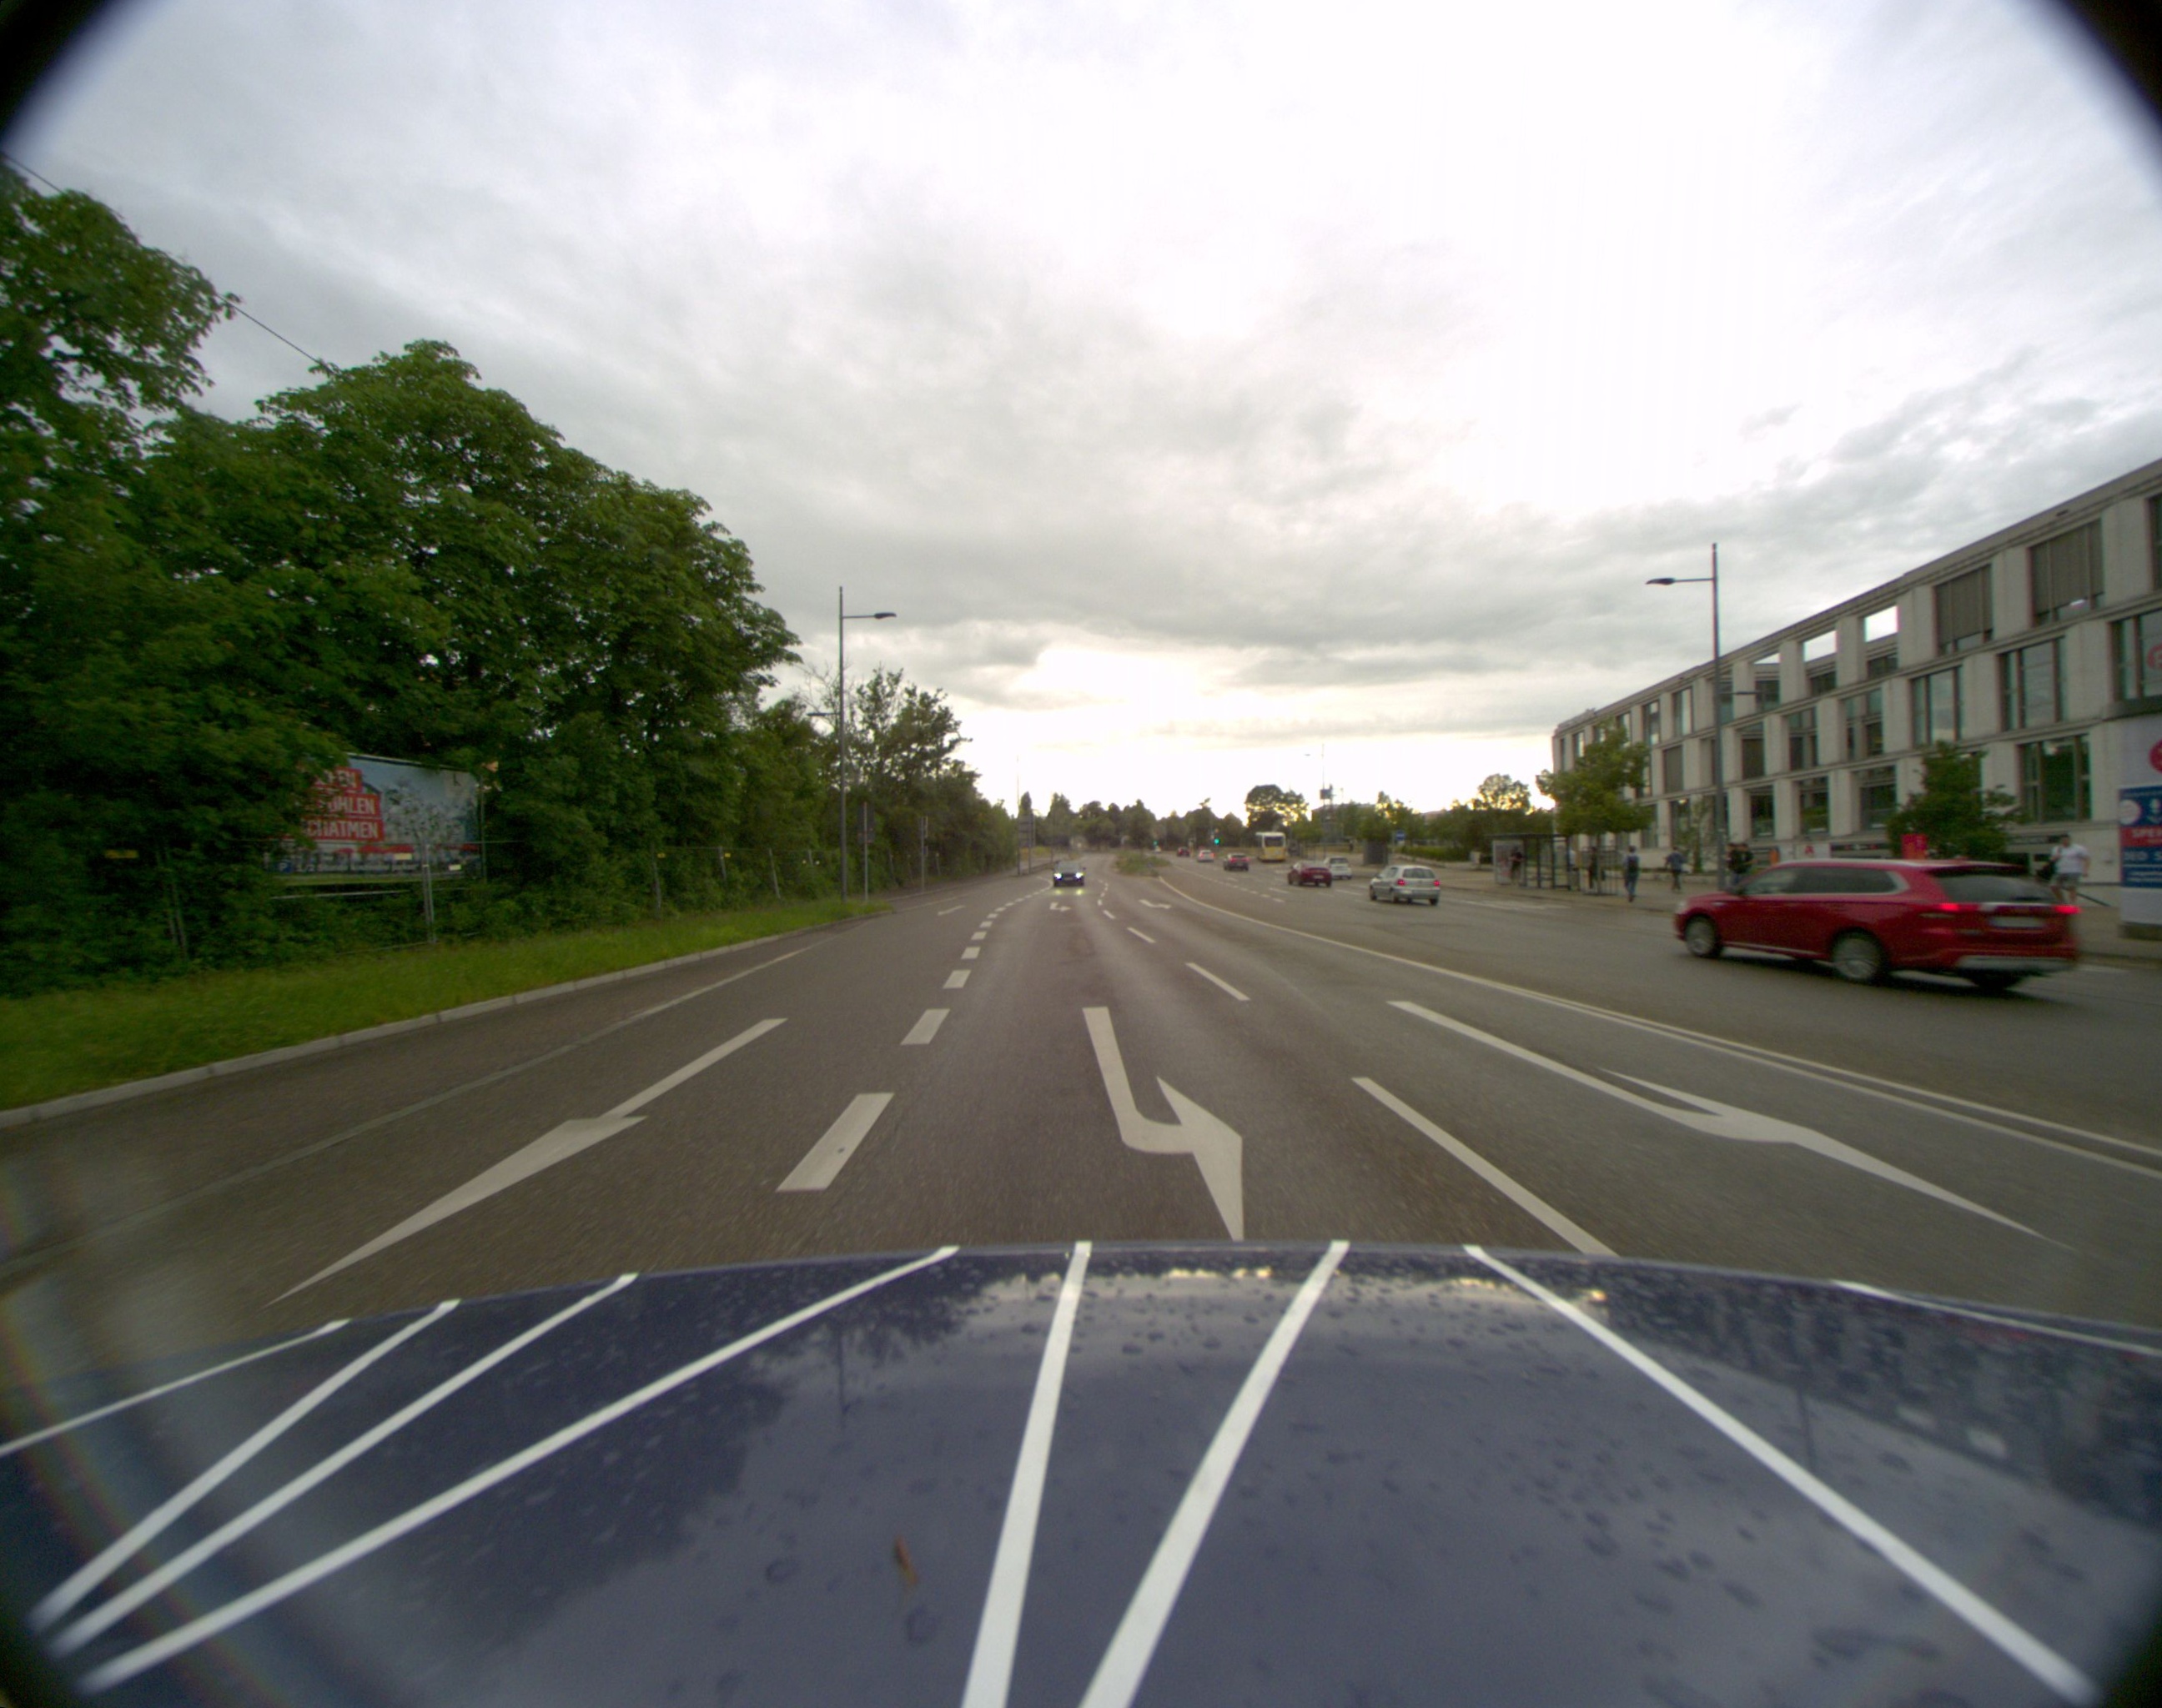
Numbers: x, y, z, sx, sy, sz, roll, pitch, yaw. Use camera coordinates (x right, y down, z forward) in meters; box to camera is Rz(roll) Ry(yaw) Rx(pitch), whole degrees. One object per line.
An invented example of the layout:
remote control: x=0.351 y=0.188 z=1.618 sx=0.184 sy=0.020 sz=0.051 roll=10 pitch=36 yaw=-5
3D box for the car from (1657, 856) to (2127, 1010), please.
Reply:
car: x=11.011 y=0.903 z=11.016 sx=1.857 sy=1.673 sz=4.738 roll=2 pitch=0 yaw=3

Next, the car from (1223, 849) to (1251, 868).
car: x=14.657 y=0.395 z=71.531 sx=1.836 sy=1.563 sz=4.593 roll=2 pitch=1 yaw=3

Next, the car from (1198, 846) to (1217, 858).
car: x=15.909 y=-0.289 z=95.976 sx=1.877 sy=1.422 sz=4.176 roll=2 pitch=1 yaw=3

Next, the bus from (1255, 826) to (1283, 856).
bus: x=24.304 y=-1.791 z=98.381 sx=2.826 sy=3.453 sz=9.978 roll=-2 pitch=2 yaw=11

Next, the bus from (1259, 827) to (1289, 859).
bus: x=22.641 y=-1.418 z=89.443 sx=2.826 sy=3.453 sz=8.234 roll=-2 pitch=2 yaw=11

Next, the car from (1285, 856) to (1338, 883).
car: x=13.149 y=0.866 z=43.568 sx=1.836 sy=1.408 sz=4.466 roll=2 pitch=0 yaw=3

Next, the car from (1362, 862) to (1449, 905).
car: x=12.067 y=1.037 z=28.514 sx=1.766 sy=1.408 sz=3.879 roll=2 pitch=0 yaw=3

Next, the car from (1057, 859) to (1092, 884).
car: x=-0.418 y=1.014 z=45.273 sx=1.990 sy=1.391 sz=4.176 roll=-1 pitch=0 yaw=-1

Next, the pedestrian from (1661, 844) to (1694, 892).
pedestrian: x=22.171 y=0.506 z=28.231 sx=0.599 sy=1.752 sz=0.857 roll=-1 pitch=1 yaw=6

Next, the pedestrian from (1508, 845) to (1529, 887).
pedestrian: x=19.355 y=0.516 z=33.617 sx=0.508 sy=1.832 sz=0.755 roll=-1 pitch=1 yaw=2

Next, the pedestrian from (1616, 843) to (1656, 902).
pedestrian: x=17.859 y=0.583 z=24.451 sx=0.754 sy=1.832 sz=0.746 roll=-1 pitch=1 yaw=5

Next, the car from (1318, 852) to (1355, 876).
car: x=17.464 y=0.660 z=52.095 sx=1.617 sy=1.499 sz=2.972 roll=-2 pitch=1 yaw=3

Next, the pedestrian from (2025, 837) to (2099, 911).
pedestrian: x=22.940 y=0.453 z=17.781 sx=0.499 sy=1.680 sz=0.914 roll=-1 pitch=1 yaw=-13

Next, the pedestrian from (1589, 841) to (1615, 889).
pedestrian: x=20.421 y=0.435 z=29.781 sx=0.581 sy=1.845 sz=0.607 roll=-1 pitch=1 yaw=1

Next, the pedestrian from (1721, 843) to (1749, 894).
pedestrian: x=22.308 y=0.479 z=25.917 sx=0.427 sy=1.715 sz=0.621 roll=-1 pitch=1 yaw=4

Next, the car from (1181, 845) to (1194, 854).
car: x=16.932 y=-0.725 z=120.981 sx=1.851 sy=1.454 sz=3.867 roll=0 pitch=1 yaw=3

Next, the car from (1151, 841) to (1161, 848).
car: x=15.549 y=-1.959 z=157.974 sx=1.998 sy=1.410 sz=4.513 roll=-1 pitch=1 yaw=3
